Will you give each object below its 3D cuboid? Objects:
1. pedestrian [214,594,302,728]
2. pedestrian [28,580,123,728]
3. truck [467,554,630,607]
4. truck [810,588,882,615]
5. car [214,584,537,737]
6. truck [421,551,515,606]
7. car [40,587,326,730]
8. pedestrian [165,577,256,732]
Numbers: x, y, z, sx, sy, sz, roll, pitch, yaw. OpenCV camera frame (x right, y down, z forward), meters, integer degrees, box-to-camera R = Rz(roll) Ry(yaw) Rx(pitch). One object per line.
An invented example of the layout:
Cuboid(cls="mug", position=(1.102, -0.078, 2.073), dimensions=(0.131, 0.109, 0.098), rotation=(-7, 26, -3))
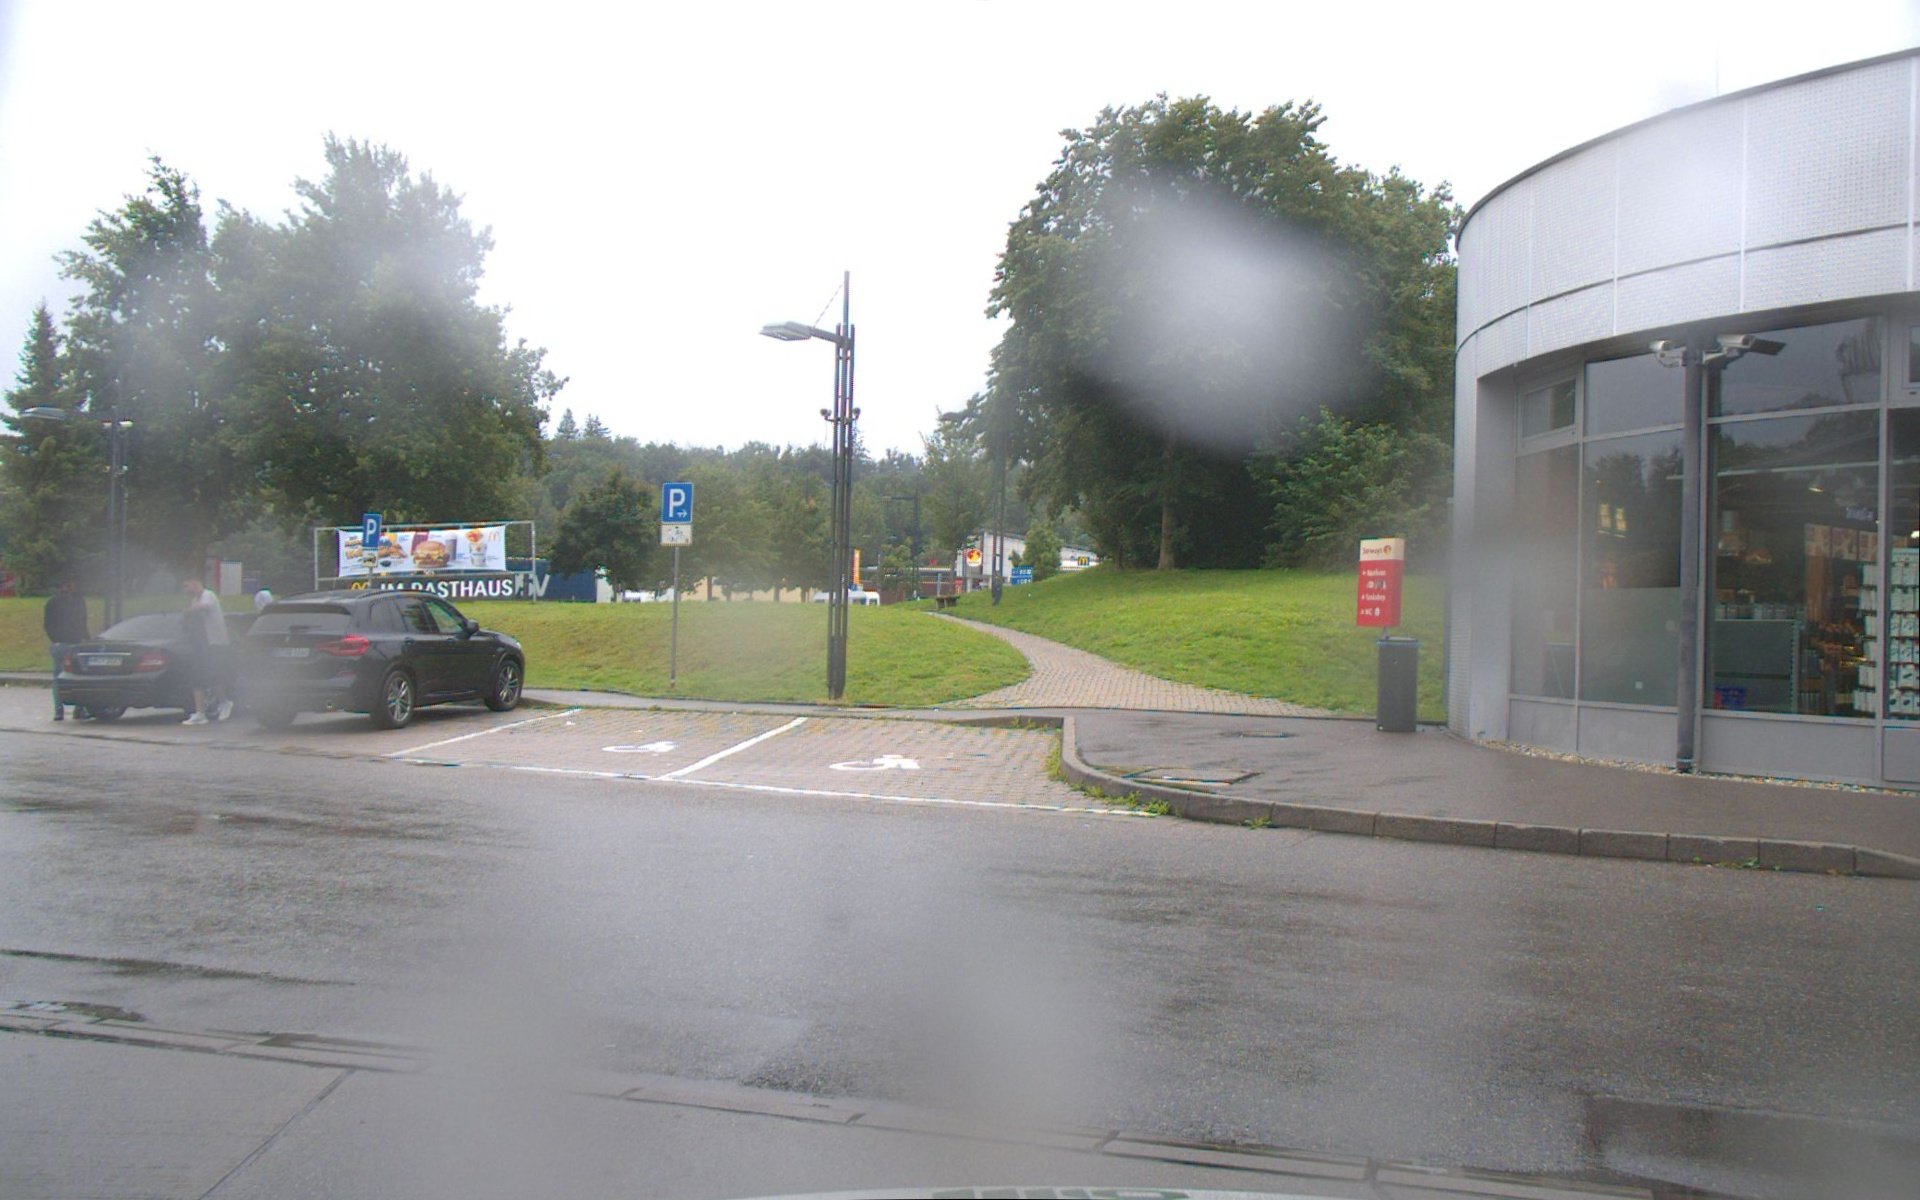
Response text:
Cuboid(cls="pedestrian", position=(-8.964, 0.764, 21.123), dimensions=(0.941, 1.660, 0.697), rotation=(1, -1, -30))
Cuboid(cls="pedestrian", position=(-11.757, 0.705, 21.996), dimensions=(0.873, 1.920, 0.703), rotation=(1, -1, 26))
Cuboid(cls="truck", position=(-24.919, -1.093, 101.280), dimensions=(2.142, 2.971, 13.092), rotation=(1, 0, 23))
Cuboid(cls="truck", position=(-9.220, 0.133, 133.677), dimensions=(5.298, 2.049, 2.366), rotation=(1, 0, 24))
Cuboid(cls="car", position=(-7.361, 0.692, 21.381), dimensions=(1.973, 1.741, 4.347), rotation=(-1, 1, 11))
Cuboid(cls="truck", position=(-27.970, -1.176, 94.265), dimensions=(2.142, 2.971, 5.384), rotation=(1, 0, 24))
Cuboid(cls="car", position=(-10.569, 0.718, 22.899), dimensions=(1.976, 1.741, 4.342), rotation=(-1, 1, -2))
Cuboid(cls="pedestrian", position=(-9.529, 0.687, 21.053), dimensions=(0.936, 1.920, 0.700), rotation=(1, -1, -17))
